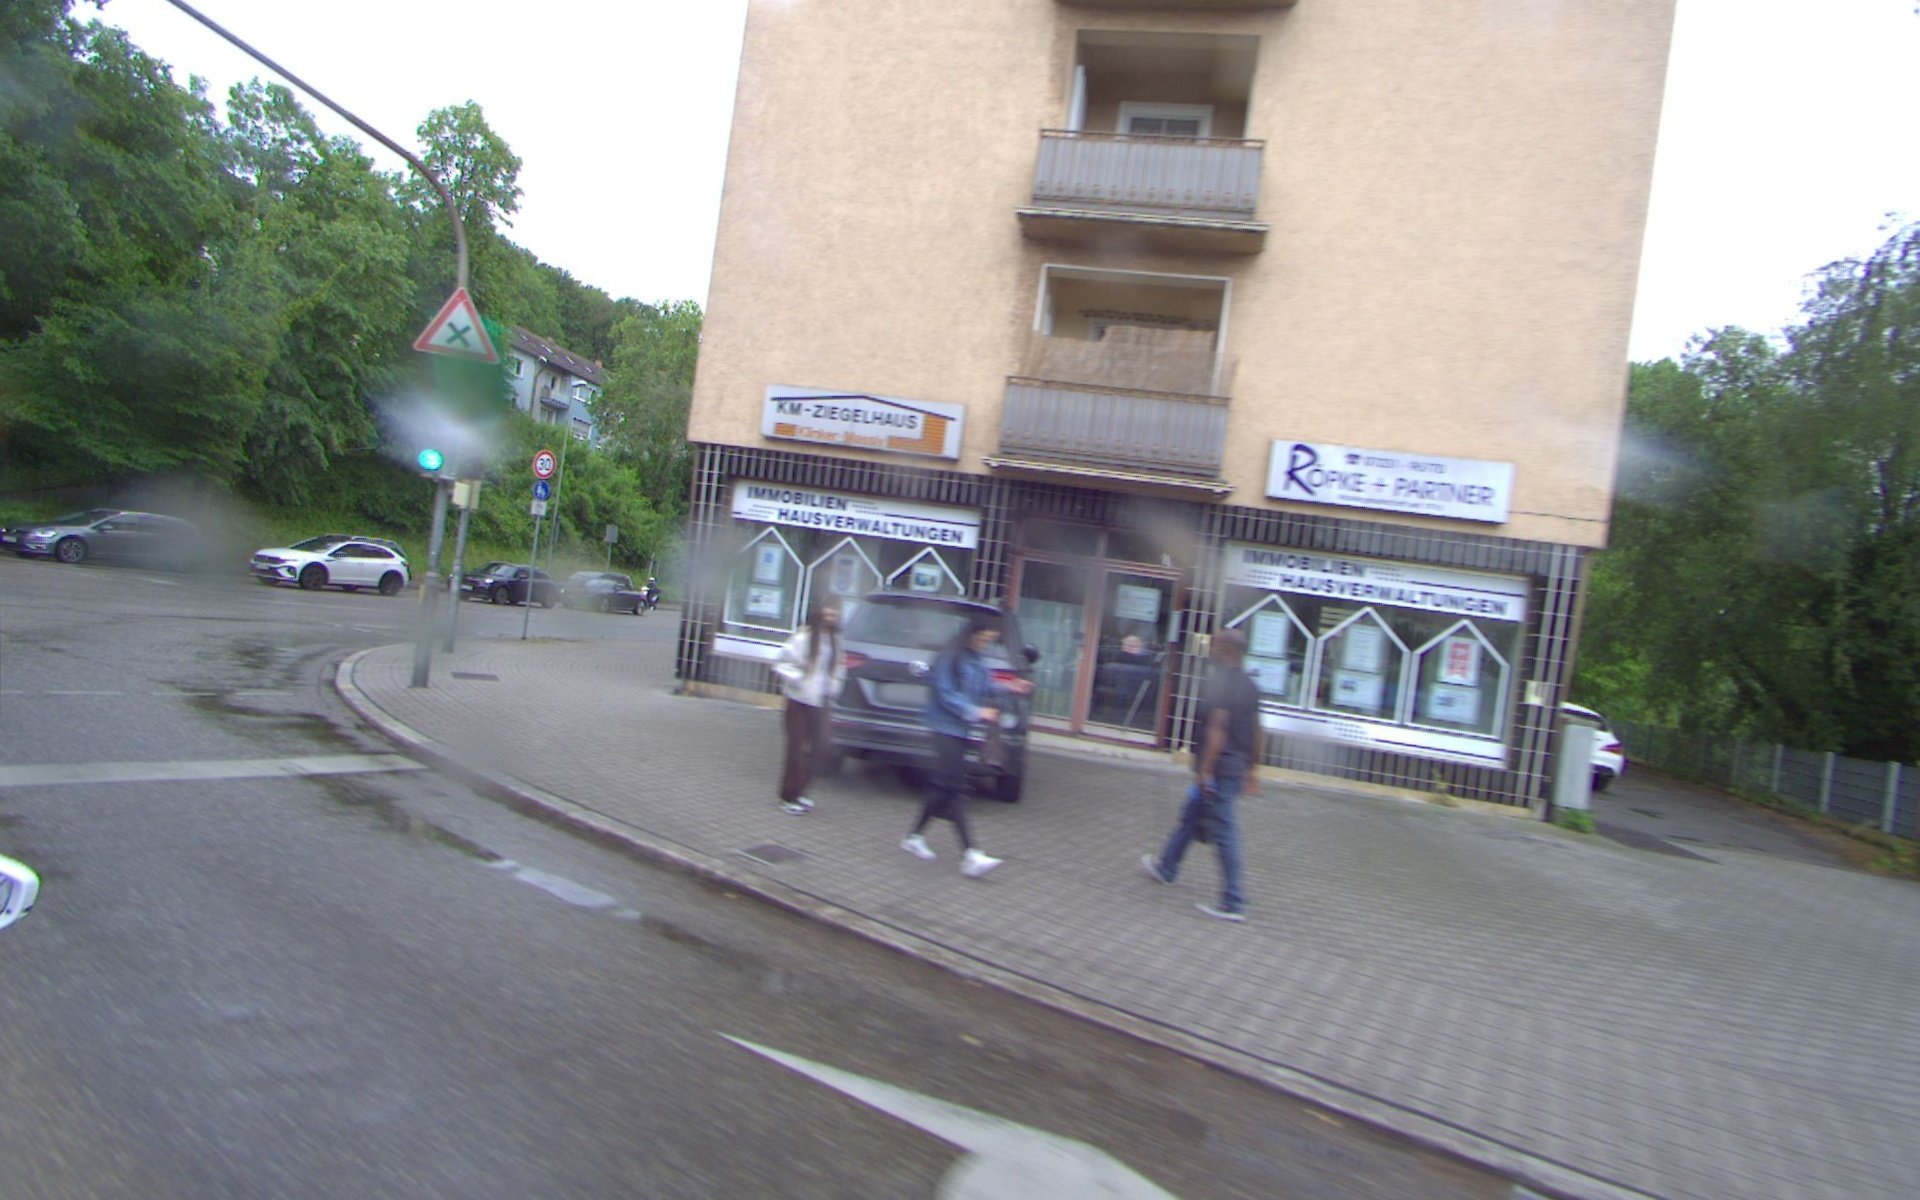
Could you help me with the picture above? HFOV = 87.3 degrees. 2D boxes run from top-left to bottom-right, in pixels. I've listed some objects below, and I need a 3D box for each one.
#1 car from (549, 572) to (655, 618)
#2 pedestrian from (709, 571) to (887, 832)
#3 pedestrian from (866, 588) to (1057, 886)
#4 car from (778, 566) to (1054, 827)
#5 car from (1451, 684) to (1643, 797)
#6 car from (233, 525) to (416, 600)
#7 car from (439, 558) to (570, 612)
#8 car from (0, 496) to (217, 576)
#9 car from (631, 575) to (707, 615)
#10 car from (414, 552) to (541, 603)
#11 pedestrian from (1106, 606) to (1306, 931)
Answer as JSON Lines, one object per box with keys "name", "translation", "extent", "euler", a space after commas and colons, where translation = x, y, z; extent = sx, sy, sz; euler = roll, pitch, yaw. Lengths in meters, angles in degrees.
{"name": "car", "translation": [-14.355, -0.161, 40.582], "extent": [1.775, 1.386, 4.158], "euler": [7, -1, 17]}
{"name": "pedestrian", "translation": [-1.095, 0.660, 6.916], "extent": [0.767, 1.595, 0.763], "euler": [8, 2, 19]}
{"name": "pedestrian", "translation": [0.019, 0.792, 6.162], "extent": [0.782, 1.621, 0.658], "euler": [8, 2, 28]}
{"name": "car", "translation": [-0.130, 0.724, 9.510], "extent": [1.848, 1.669, 4.382], "euler": [7, 0, 5]}
{"name": "car", "translation": [10.856, 2.519, 18.995], "extent": [1.783, 1.392, 4.456], "euler": [10, 0, 14]}
{"name": "car", "translation": [-17.938, -1.004, 28.652], "extent": [1.775, 1.580, 4.158], "euler": [7, -1, 17]}
{"name": "car", "translation": [-15.905, -0.478, 35.381], "extent": [1.775, 1.386, 4.158], "euler": [7, -1, 17]}
{"name": "car", "translation": [-22.408, -1.638, 26.355], "extent": [1.848, 1.521, 4.338], "euler": [7, 0, 19]}
{"name": "car", "translation": [-15.405, -0.244, 53.593], "extent": [1.792, 1.717, 4.630], "euler": [7, -1, 11]}
{"name": "car", "translation": [-19.242, -0.860, 40.363], "extent": [1.793, 1.499, 4.629], "euler": [7, -1, 17]}
{"name": "pedestrian", "translation": [1.483, 0.947, 6.018], "extent": [0.768, 1.699, 0.761], "euler": [8, 2, 31]}
